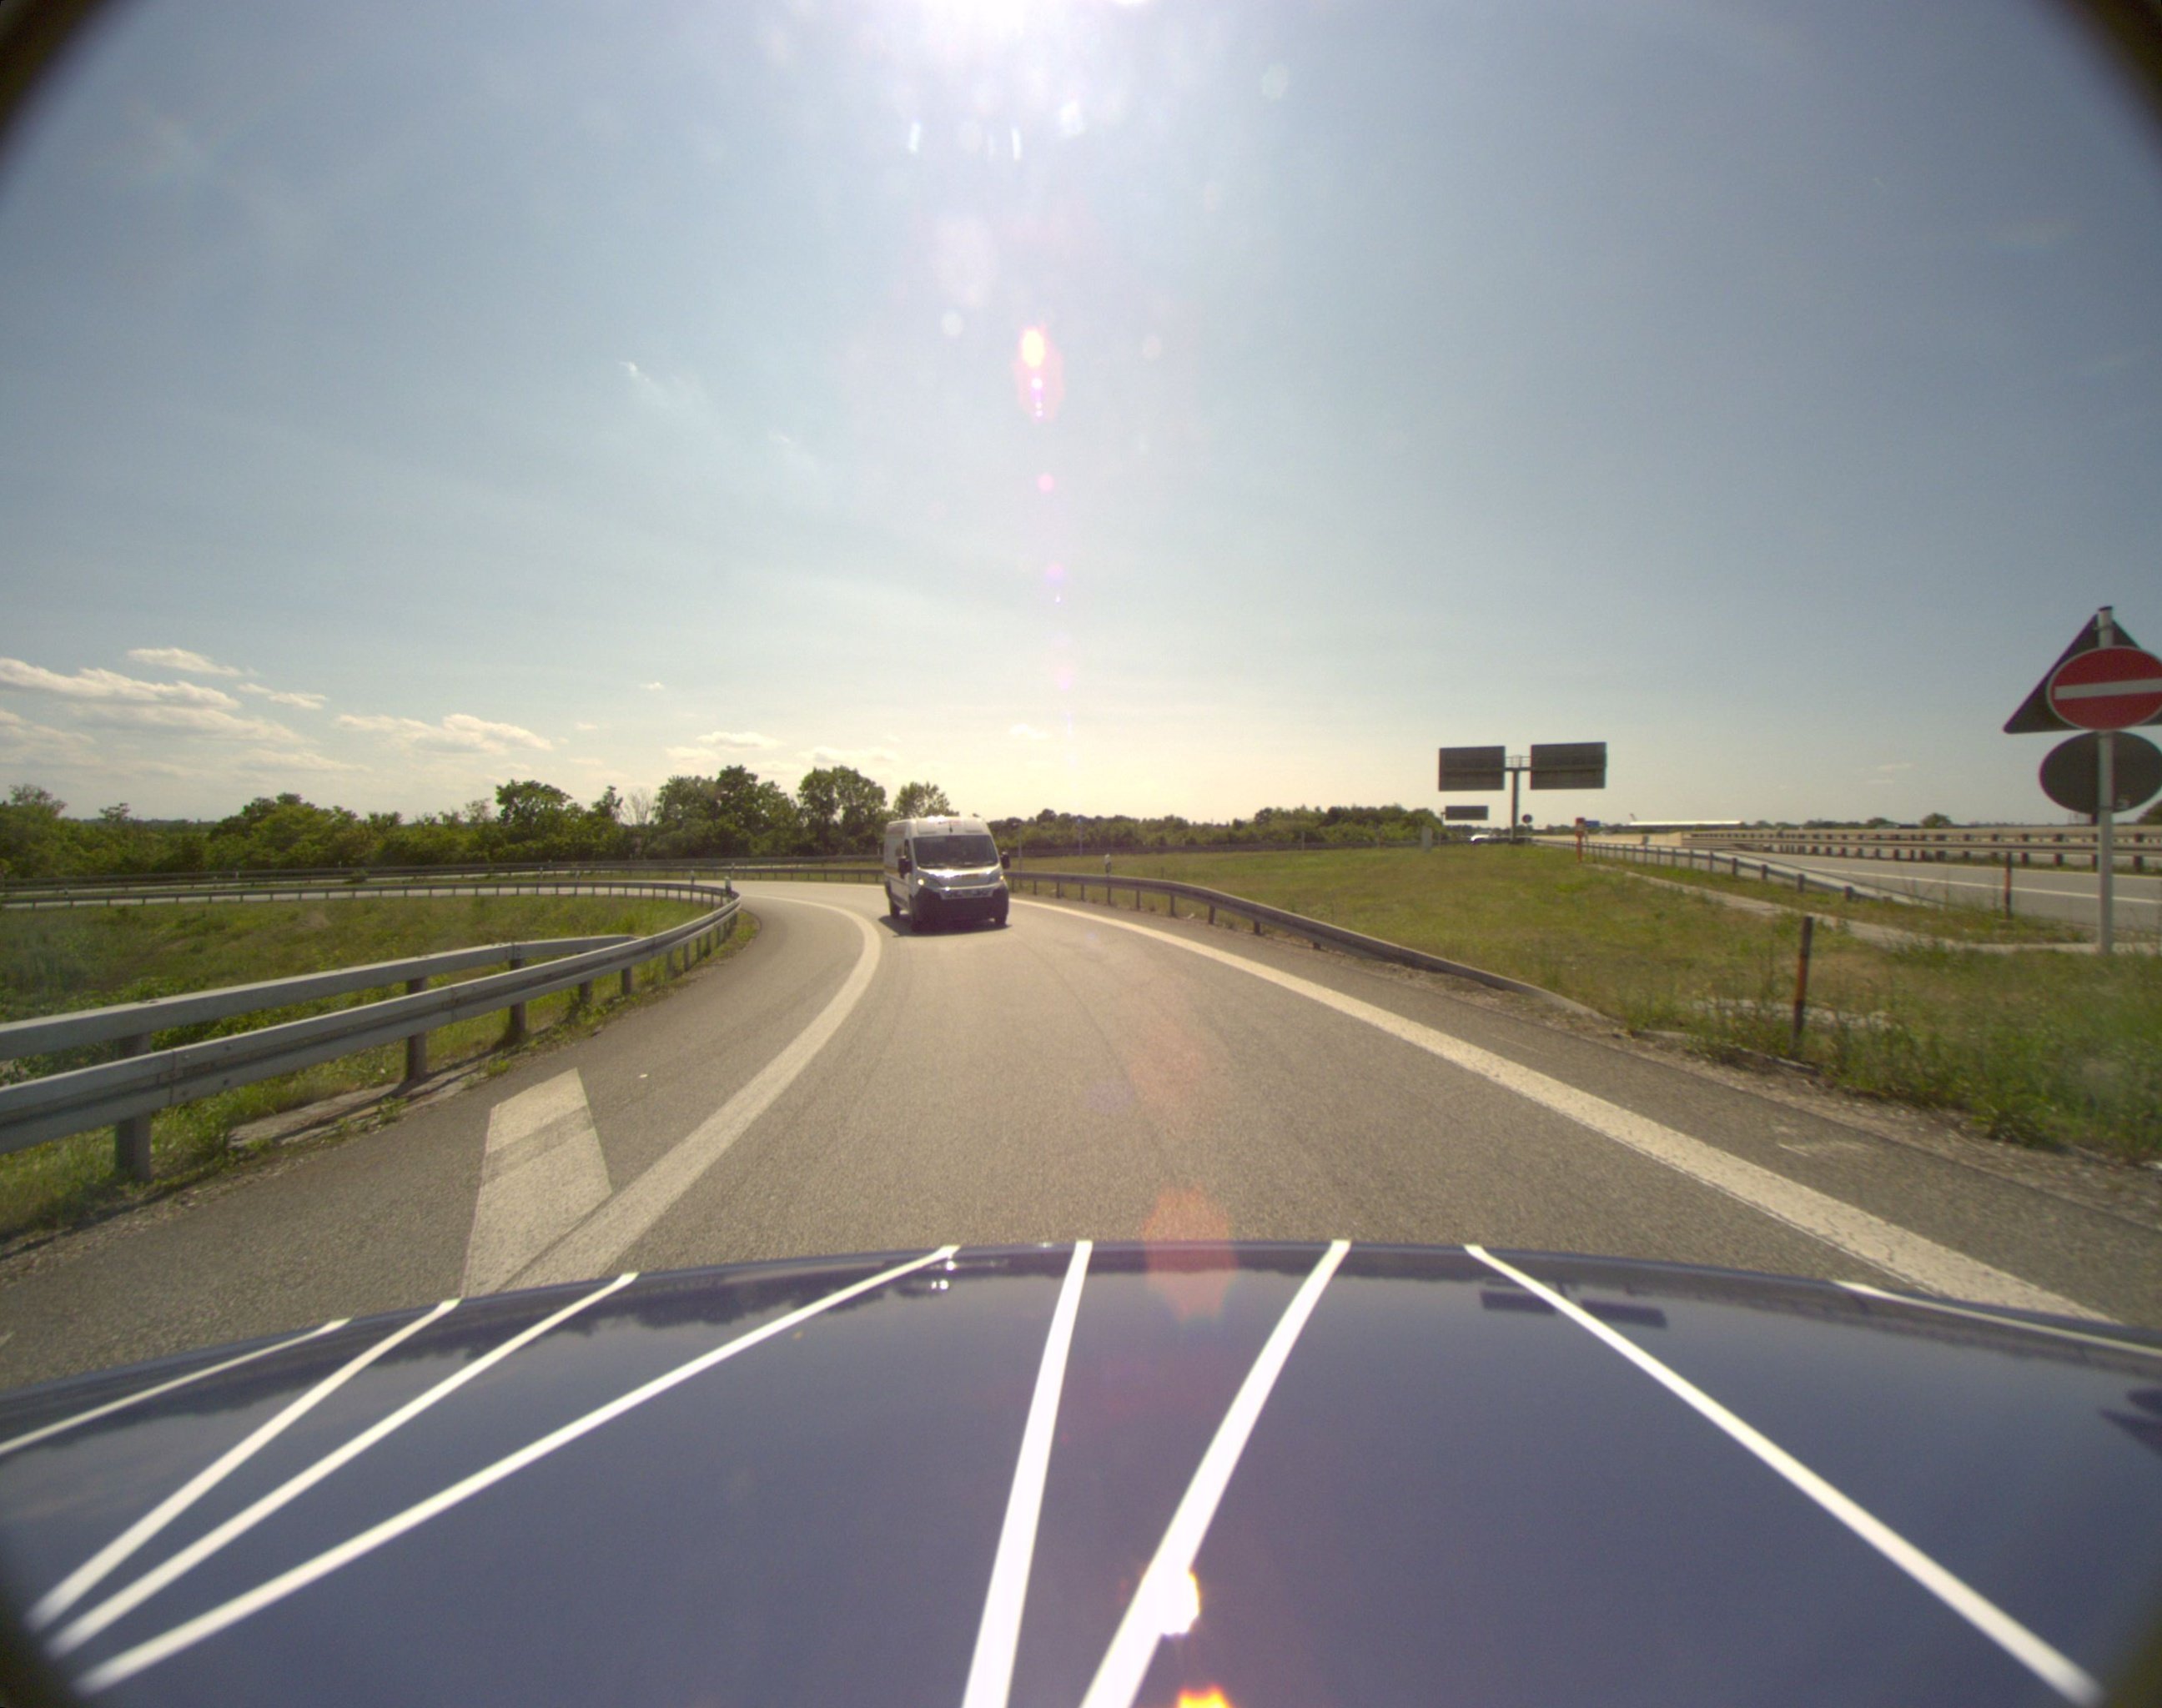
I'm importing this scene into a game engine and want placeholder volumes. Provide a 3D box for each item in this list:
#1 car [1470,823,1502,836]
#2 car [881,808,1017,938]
[{"bbox_3d":[49.242,-2.989,92.420,4.306,1.499,1.994,-4,2,-41],"label":"car"},{"bbox_3d":[-3.418,0.393,18.375,2.090,2.509,6.227,-3,1,-19],"label":"car"}]
